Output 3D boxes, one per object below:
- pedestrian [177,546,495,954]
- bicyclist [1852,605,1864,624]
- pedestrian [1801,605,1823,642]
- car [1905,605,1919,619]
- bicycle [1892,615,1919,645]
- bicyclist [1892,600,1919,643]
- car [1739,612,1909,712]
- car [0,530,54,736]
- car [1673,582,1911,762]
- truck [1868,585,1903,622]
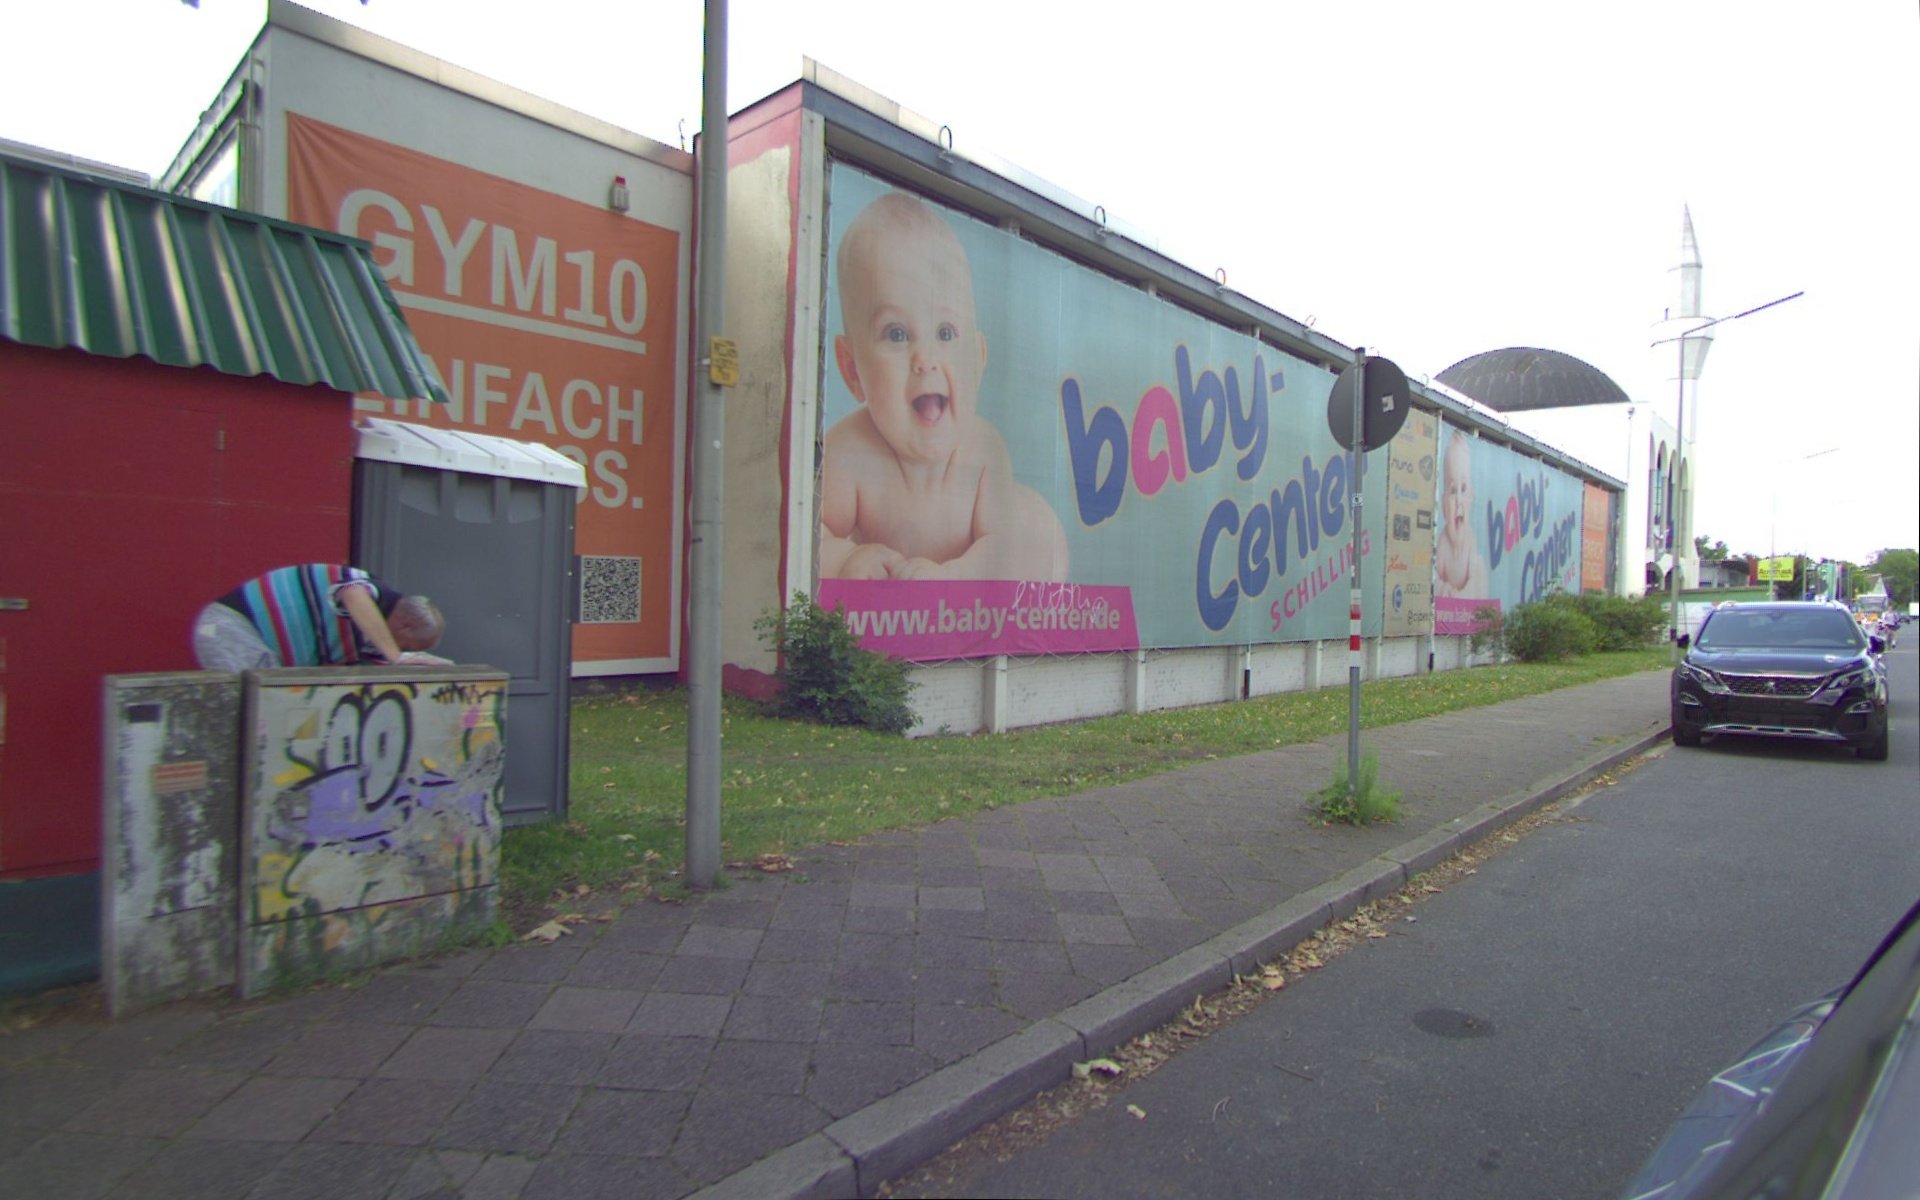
[{"bbox_3d":[-2.477,0.475,3.990,0.947,1.330,1.016,1,1,-38],"label":"pedestrian"},{"bbox_3d":[97.873,1.592,110.276,0.815,1.933,0.795,1,4,-45],"label":"bicyclist"},{"bbox_3d":[36.912,1.016,43.822,0.680,1.553,1.113,2,1,42],"label":"pedestrian"},{"bbox_3d":[137.410,1.781,145.674,1.792,1.915,3.939,2,1,42],"label":"car"},{"bbox_3d":[40.305,1.264,43.142,0.797,1.195,2.586,0,0,42],"label":"bicycle"},{"bbox_3d":[40.338,0.909,43.186,0.806,1.815,1.188,-1,-1,42],"label":"bicyclist"},{"bbox_3d":[14.145,0.896,16.472,1.808,1.409,4.514,-1,-1,44],"label":"car"},{"bbox_3d":[-8.931,0.203,6.999,3.933,1.531,1.741,1,1,-43],"label":"car"},{"bbox_3d":[9.738,0.701,11.800,1.806,1.687,4.569,-1,-1,42],"label":"car"},{"bbox_3d":[106.565,0.468,116.501,2.777,4.169,8.149,-1,-2,43],"label":"truck"}]
